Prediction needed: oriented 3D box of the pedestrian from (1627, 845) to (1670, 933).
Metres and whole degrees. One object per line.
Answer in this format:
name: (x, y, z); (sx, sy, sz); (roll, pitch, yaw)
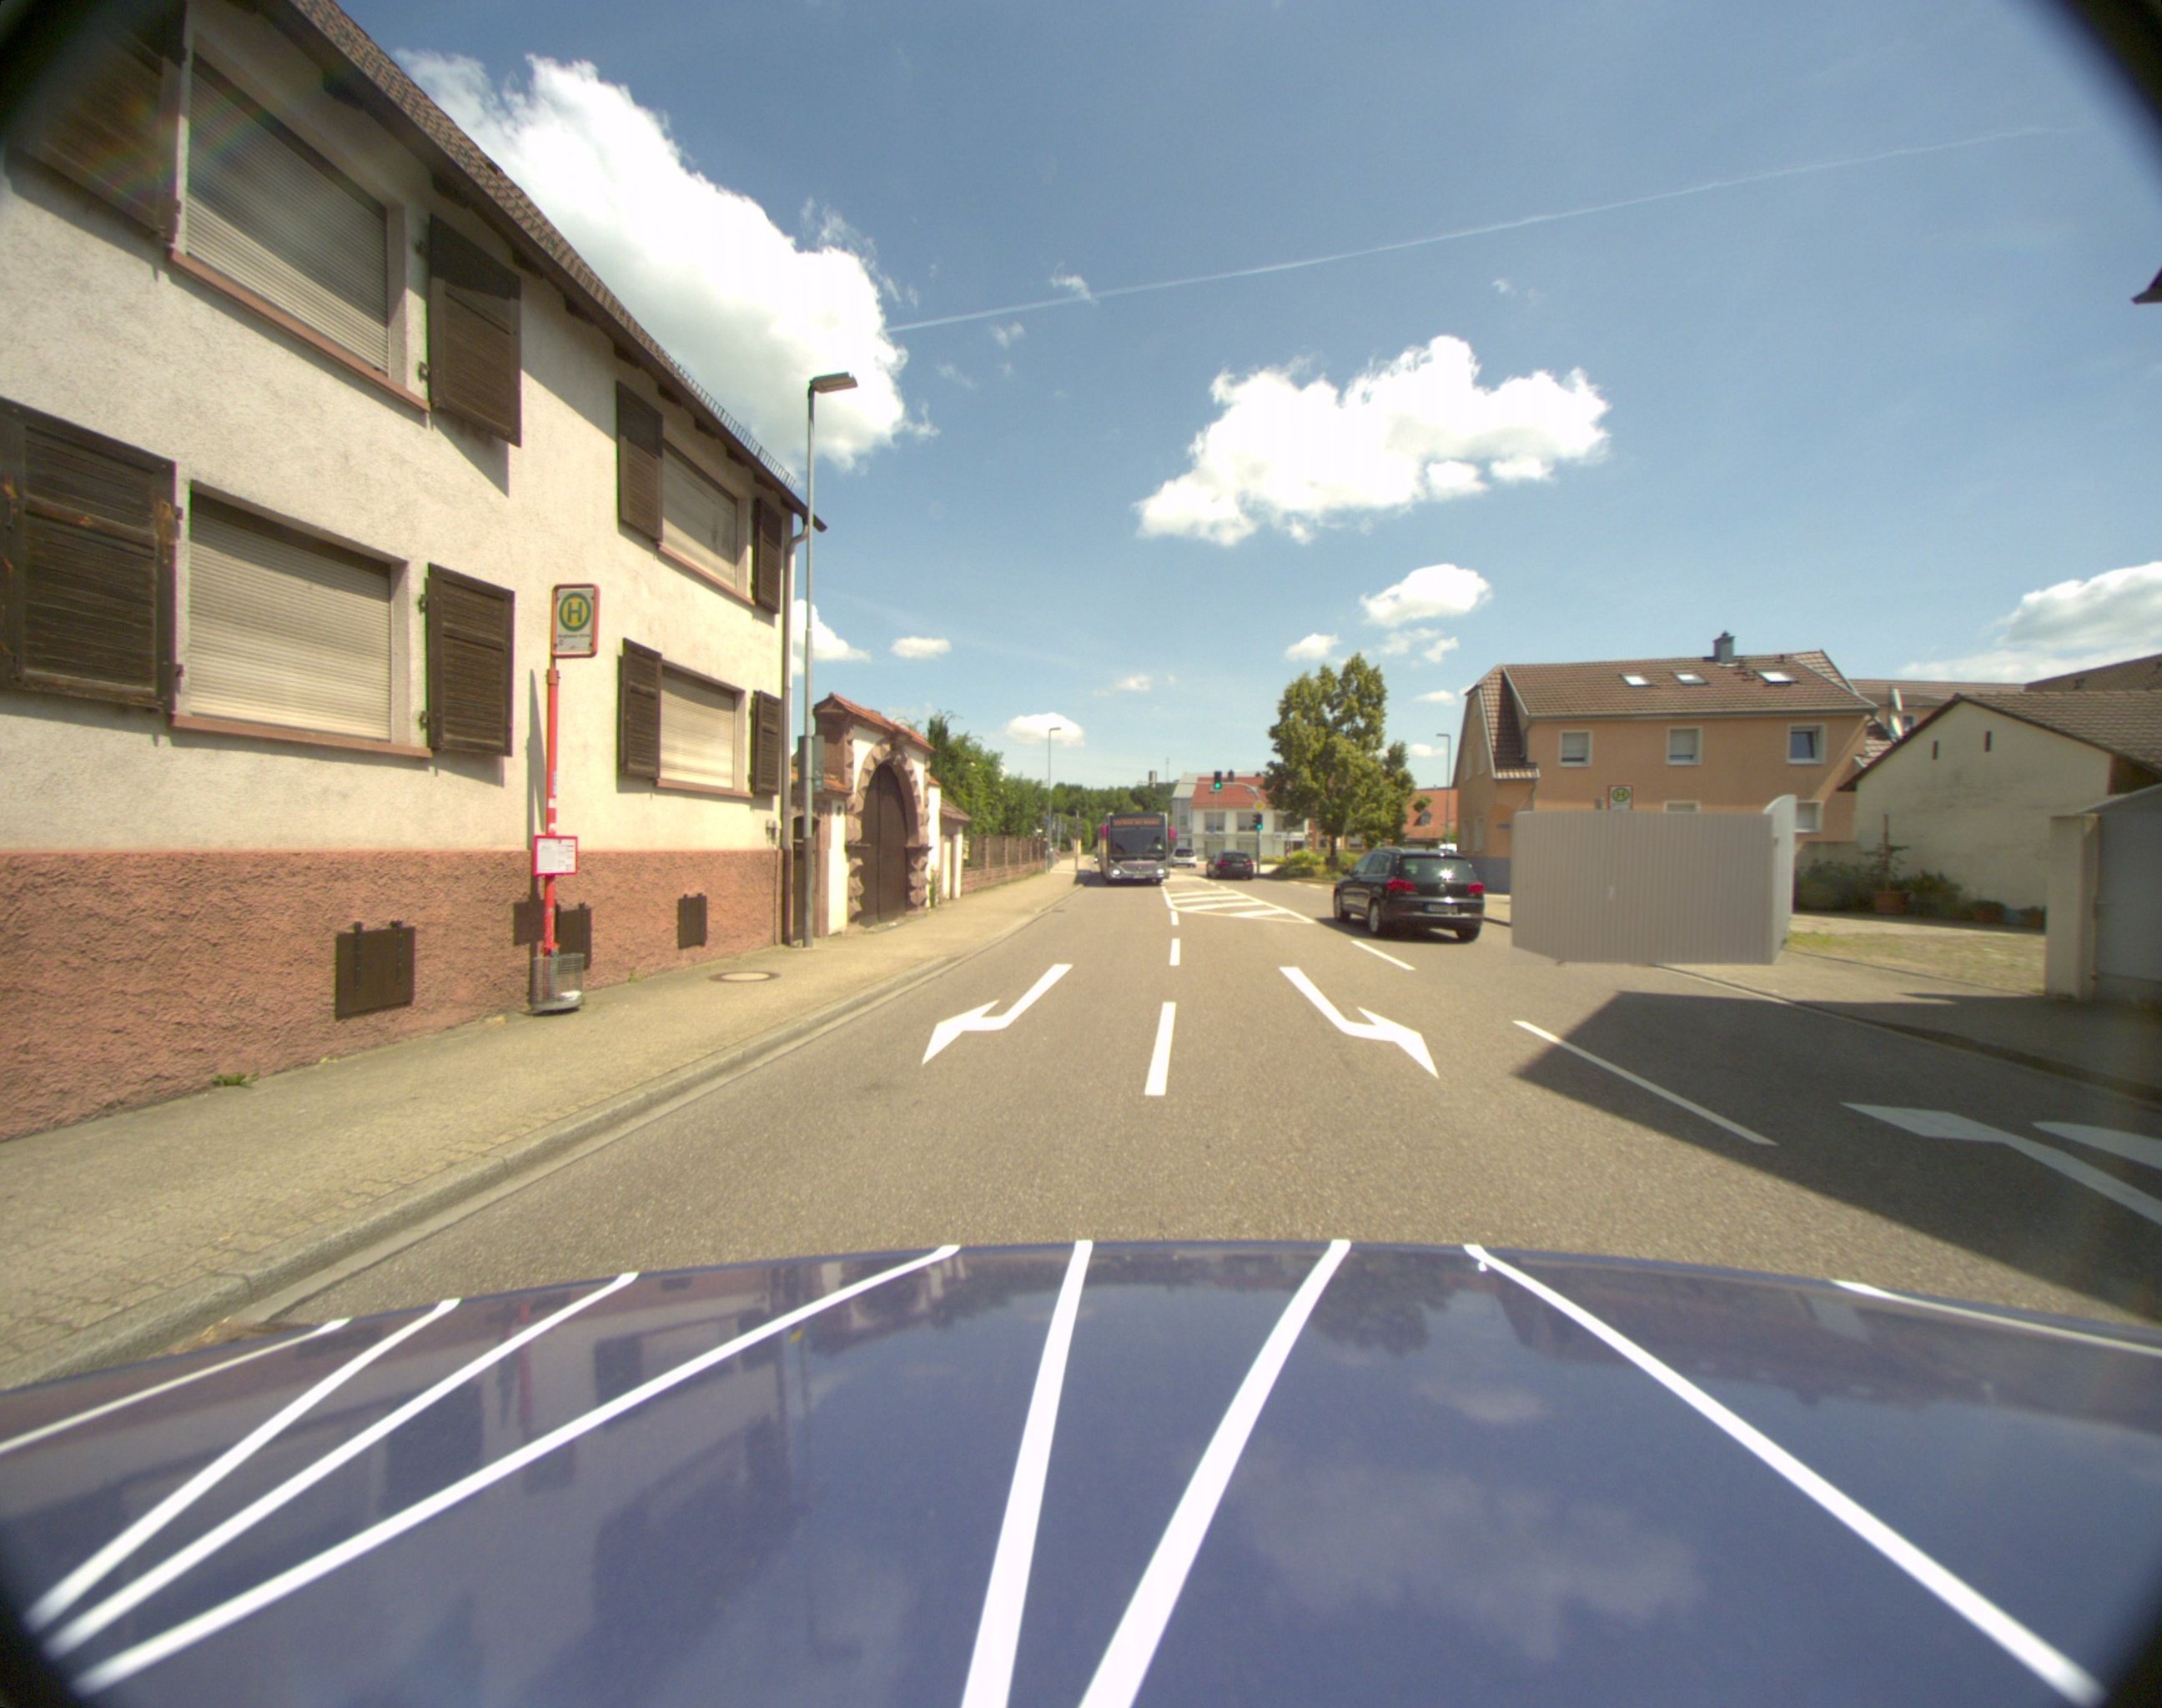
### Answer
pedestrian: (11.607, 0.706, 15.549); (0.471, 1.754, 0.478); (0, 1, -13)

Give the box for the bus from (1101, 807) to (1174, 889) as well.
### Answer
bus: (2.499, -0.358, 39.604); (2.858, 3.186, 19.031); (1, 1, 2)

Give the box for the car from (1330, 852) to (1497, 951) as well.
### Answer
car: (6.254, 0.793, 14.811); (1.752, 1.602, 4.001); (1, 1, 5)

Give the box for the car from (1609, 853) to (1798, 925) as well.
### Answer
car: (15.683, 0.800, 19.452); (1.752, 1.602, 4.001); (1, 1, 5)

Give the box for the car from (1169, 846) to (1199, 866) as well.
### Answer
car: (7.720, 0.115, 57.040); (1.784, 1.448, 4.531); (1, 1, 2)

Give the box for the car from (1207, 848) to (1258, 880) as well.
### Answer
car: (7.471, 0.451, 37.917); (1.784, 1.448, 4.531); (1, 1, 2)

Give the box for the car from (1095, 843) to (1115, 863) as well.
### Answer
car: (2.276, -0.115, 71.135); (1.787, 1.819, 4.352); (2, 1, 2)

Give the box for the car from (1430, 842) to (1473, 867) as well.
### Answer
car: (39.058, 0.002, 80.102); (5.219, 2.432, 1.995); (-3, 1, -39)
